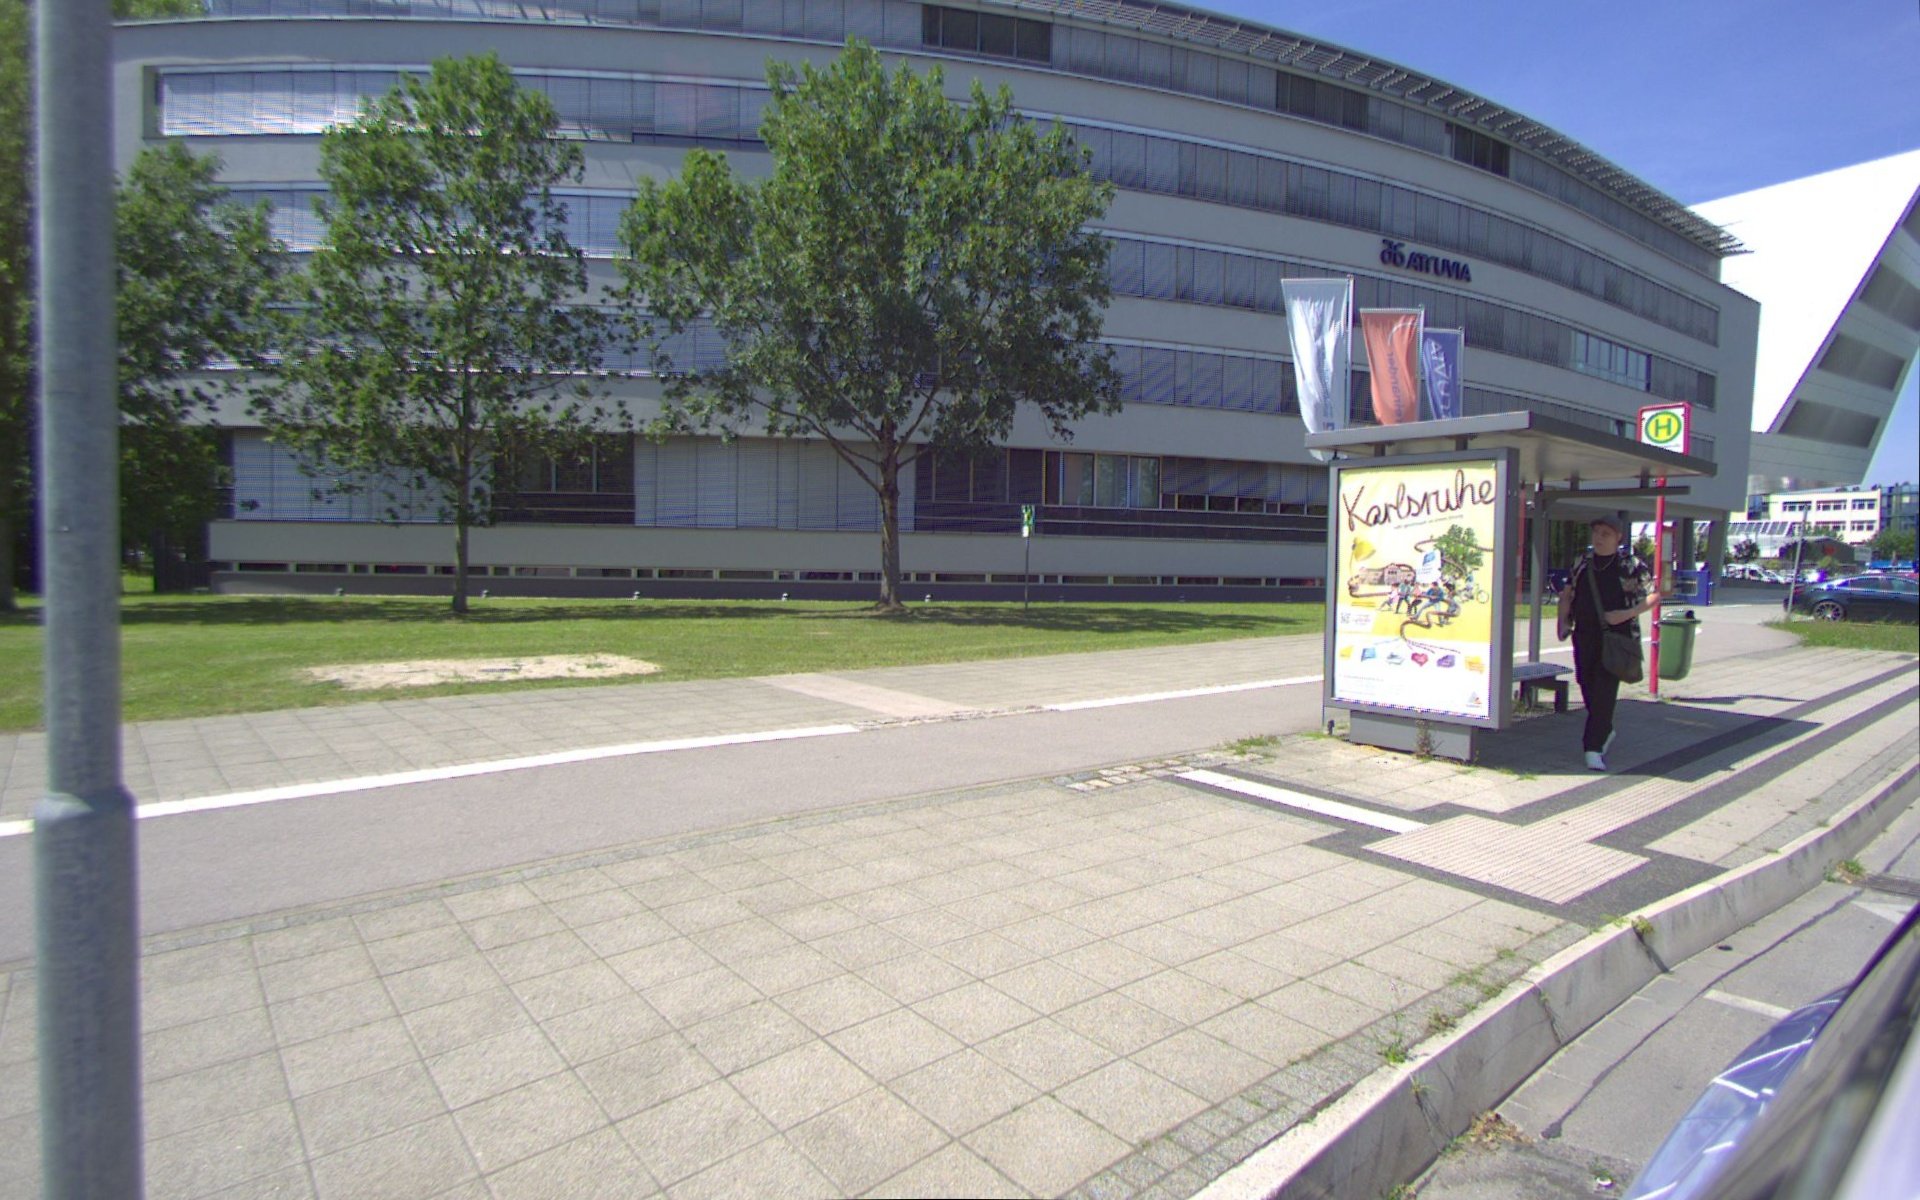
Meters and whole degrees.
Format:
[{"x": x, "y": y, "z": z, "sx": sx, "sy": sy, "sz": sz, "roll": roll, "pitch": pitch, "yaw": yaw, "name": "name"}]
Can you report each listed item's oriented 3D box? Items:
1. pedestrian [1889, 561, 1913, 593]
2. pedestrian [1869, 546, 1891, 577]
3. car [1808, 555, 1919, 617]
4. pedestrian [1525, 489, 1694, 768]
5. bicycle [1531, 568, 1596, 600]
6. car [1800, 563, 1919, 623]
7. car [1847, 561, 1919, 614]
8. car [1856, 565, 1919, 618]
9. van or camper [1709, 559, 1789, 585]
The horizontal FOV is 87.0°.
[{"x": 51.047, "y": -1.235, "z": 54.900, "sx": 0.762, "sy": 1.722, "sz": 0.843, "roll": -1, "pitch": 1, "yaw": -42, "name": "pedestrian"}, {"x": 50.505, "y": -2.133, "z": 55.556, "sx": 0.762, "sy": 1.680, "sz": 0.843, "roll": -1, "pitch": 1, "yaw": -42, "name": "pedestrian"}, {"x": 27.166, "y": -0.417, "z": 29.063, "sx": 1.806, "sy": 1.675, "sz": 3.998, "roll": -1, "pitch": 3, "yaw": -38, "name": "car"}, {"x": 4.609, "y": 0.159, "z": 7.185, "sx": 0.812, "sy": 1.844, "sz": 0.710, "roll": -1, "pitch": 4, "yaw": -40, "name": "pedestrian"}, {"x": 20.788, "y": -0.571, "z": 34.899, "sx": 0.524, "sy": 1.073, "sz": 1.883, "roll": -1, "pitch": 2, "yaw": -36, "name": "bicycle"}, {"x": 25.428, "y": -0.160, "z": 26.839, "sx": 1.796, "sy": 1.449, "sz": 4.577, "roll": -1, "pitch": 5, "yaw": -42, "name": "car"}, {"x": 30.803, "y": -0.337, "z": 31.659, "sx": 1.754, "sy": 1.582, "sz": 4.332, "roll": -1, "pitch": 4, "yaw": -39, "name": "car"}, {"x": 29.182, "y": -0.217, "z": 29.895, "sx": 1.626, "sy": 1.504, "sz": 3.818, "roll": -1, "pitch": 4, "yaw": -38, "name": "car"}, {"x": 74.882, "y": -2.666, "z": 96.131, "sx": 1.671, "sy": 2.420, "sz": 5.708, "roll": -1, "pitch": 2, "yaw": -34, "name": "van or camper"}]
